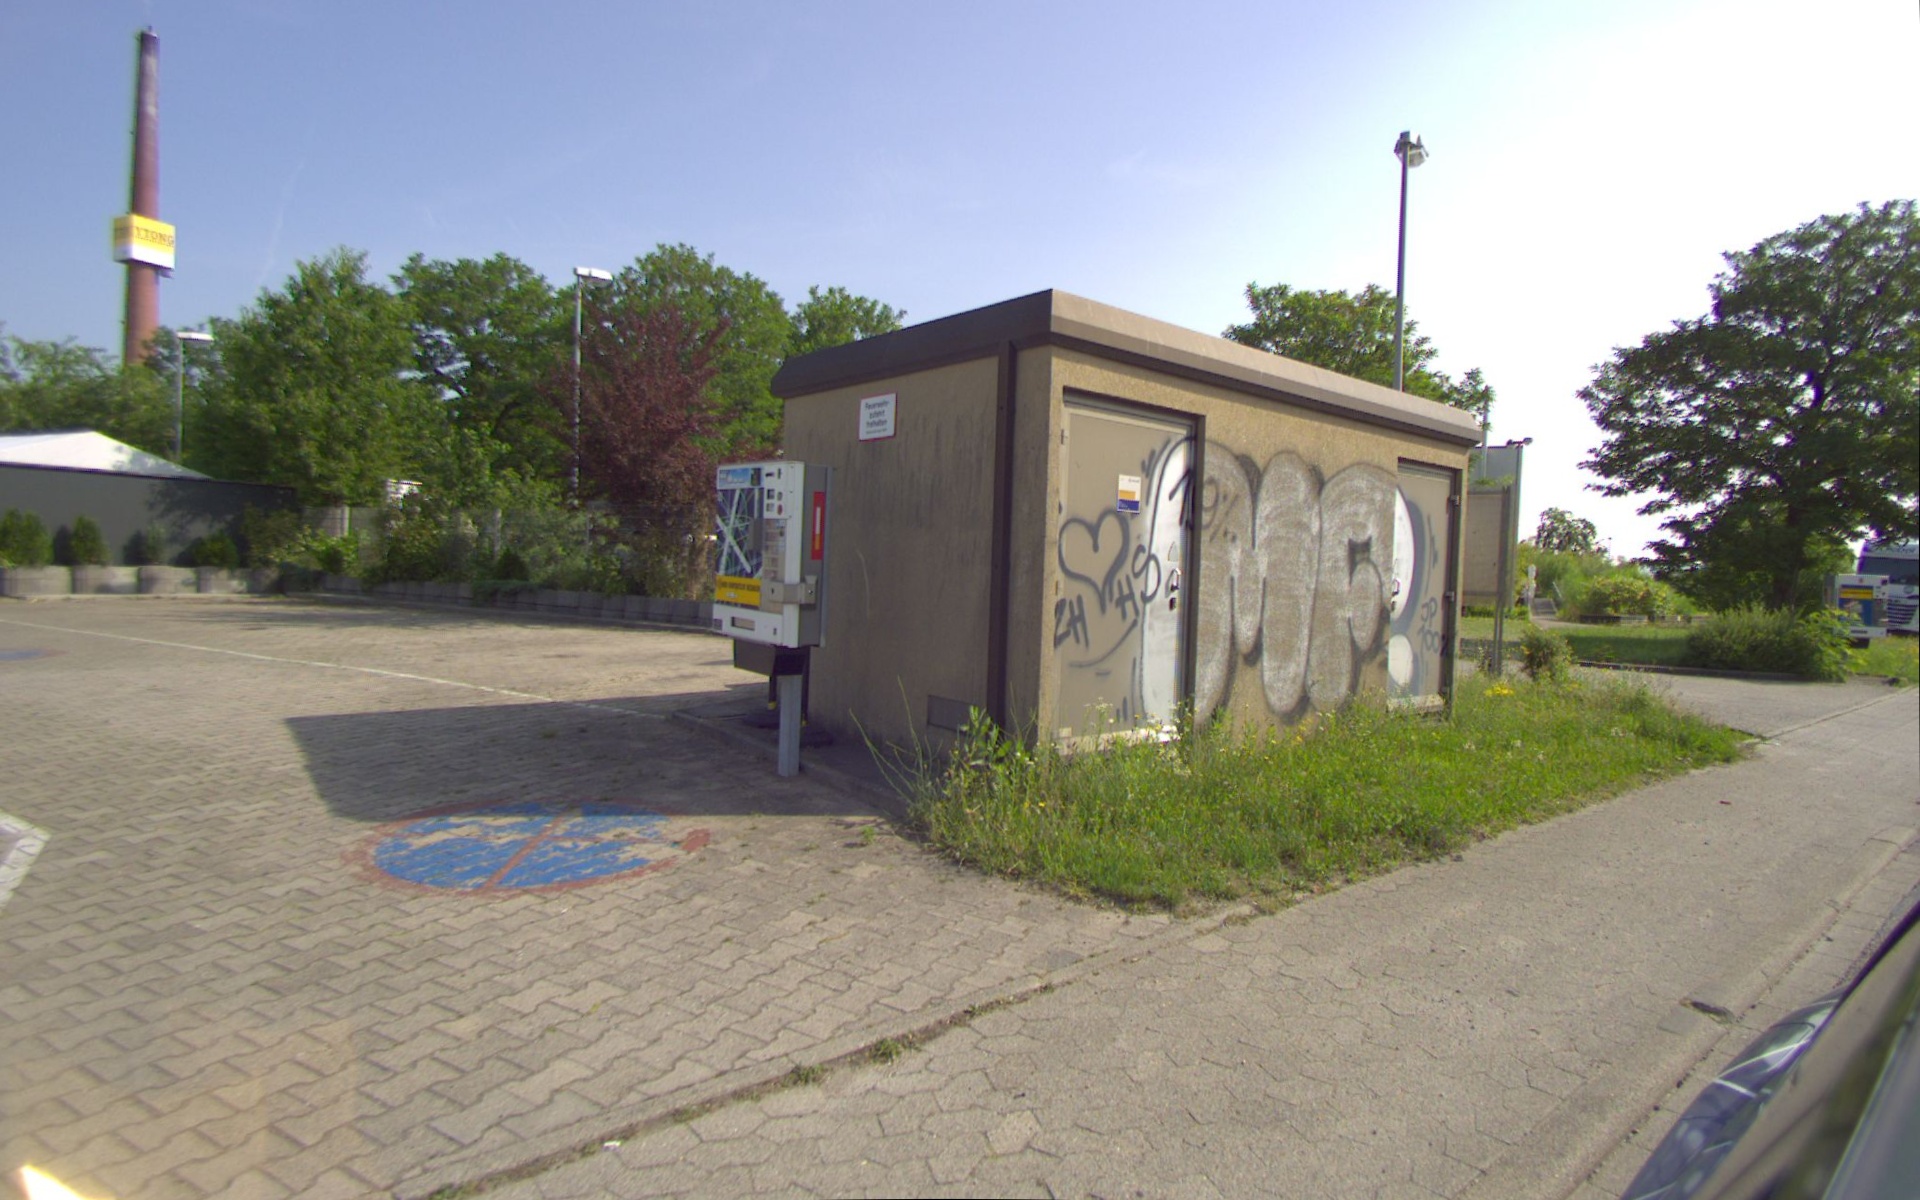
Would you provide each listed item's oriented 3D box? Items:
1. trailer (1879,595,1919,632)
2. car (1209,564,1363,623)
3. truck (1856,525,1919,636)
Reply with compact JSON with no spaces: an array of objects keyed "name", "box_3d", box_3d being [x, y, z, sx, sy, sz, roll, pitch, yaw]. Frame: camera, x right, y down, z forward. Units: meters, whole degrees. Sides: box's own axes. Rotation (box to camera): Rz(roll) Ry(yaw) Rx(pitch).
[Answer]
[{"name":"trailer","box_3d":[44.114,0.600,45.317,13.886,1.408,2.553,0,3,-40]},{"name":"car","box_3d":[9.634,-0.225,29.950,4.009,1.481,1.781,4,2,30]},{"name":"truck","box_3d":[38.300,-0.720,40.262,8.430,4.028,2.559,0,5,-41]}]
